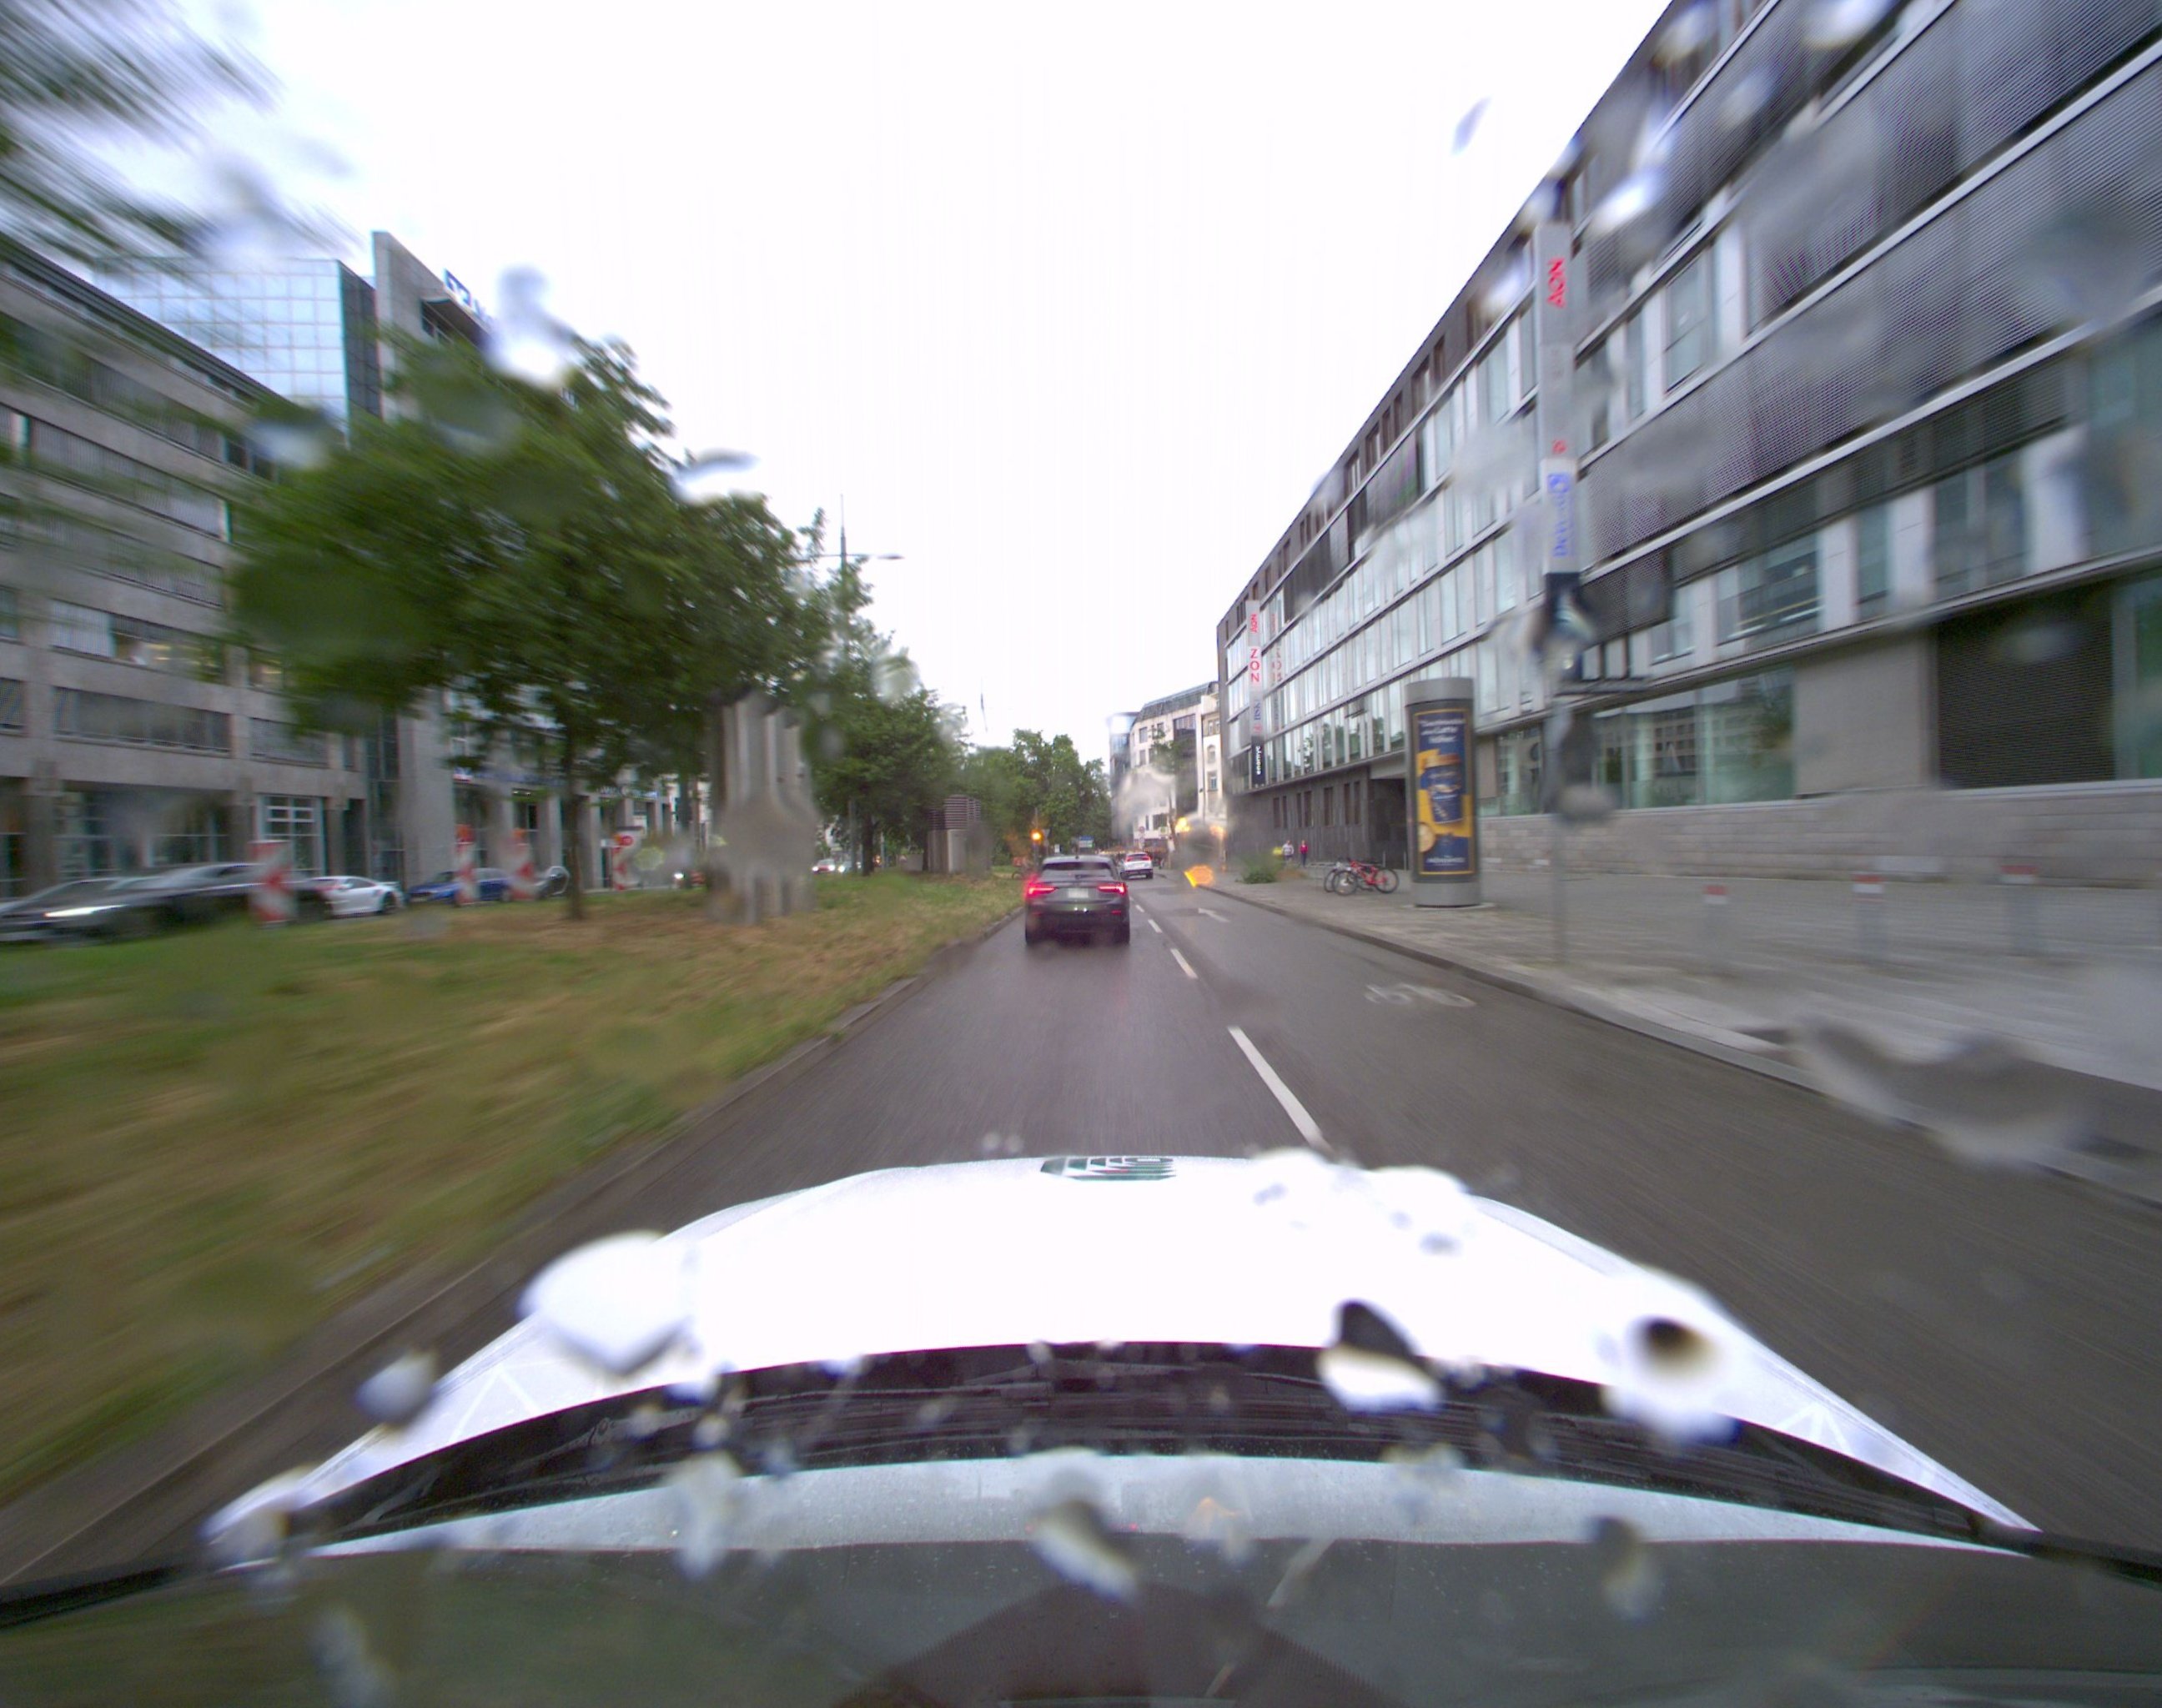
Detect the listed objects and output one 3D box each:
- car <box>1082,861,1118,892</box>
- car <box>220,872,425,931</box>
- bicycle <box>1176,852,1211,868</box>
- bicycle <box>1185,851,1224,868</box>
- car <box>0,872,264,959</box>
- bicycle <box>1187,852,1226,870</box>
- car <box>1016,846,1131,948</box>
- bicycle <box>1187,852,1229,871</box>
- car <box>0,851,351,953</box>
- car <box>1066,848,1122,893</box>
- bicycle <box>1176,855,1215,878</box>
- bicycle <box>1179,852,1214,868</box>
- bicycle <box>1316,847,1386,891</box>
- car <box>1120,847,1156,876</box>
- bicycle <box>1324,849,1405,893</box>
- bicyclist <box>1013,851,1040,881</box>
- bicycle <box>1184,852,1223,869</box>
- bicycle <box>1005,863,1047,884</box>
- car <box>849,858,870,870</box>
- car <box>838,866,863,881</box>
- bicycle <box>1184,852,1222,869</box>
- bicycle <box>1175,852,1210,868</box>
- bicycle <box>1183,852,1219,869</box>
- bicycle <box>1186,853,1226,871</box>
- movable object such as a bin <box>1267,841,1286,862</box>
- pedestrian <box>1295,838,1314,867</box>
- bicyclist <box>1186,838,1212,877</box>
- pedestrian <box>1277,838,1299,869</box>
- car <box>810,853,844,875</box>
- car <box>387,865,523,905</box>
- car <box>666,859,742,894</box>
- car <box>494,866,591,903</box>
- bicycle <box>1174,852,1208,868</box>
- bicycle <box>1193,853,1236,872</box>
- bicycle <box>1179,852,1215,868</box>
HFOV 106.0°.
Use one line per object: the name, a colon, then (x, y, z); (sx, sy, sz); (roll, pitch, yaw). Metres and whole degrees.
car: (1.151, 1.289, 48.160); (1.937, 1.646, 4.248); (-2, 0, 3)
car: (-22.692, 1.347, 24.675); (1.770, 1.401, 4.683); (-3, 1, 0)
bicycle: (8.652, 0.454, 62.507); (2.529, 1.087, 0.677); (-3, -1, -2)
bicycle: (8.504, 0.374, 56.071); (2.529, 1.087, 0.677); (-3, -1, -2)
car: (-22.642, 1.347, 19.190); (1.770, 1.622, 4.912); (-3, 0, 0)
bicycle: (8.522, 0.494, 55.257); (2.529, 1.087, 0.677); (-3, -1, -2)
car: (-0.011, 0.685, 15.444); (1.840, 1.616, 4.256); (-1, 0, 3)
bicycle: (8.181, 0.468, 52.384); (2.529, 1.087, 0.677); (-3, 0, -2)
car: (-15.805, 0.721, 14.332); (1.857, 1.429, 4.562); (-3, 0, -3)
car: (0.525, 0.667, 34.569); (2.155, 1.706, 4.553); (-2, 0, 0)
bicycle: (6.287, 0.673, 44.516); (2.142, 1.145, 0.755); (-2, -1, -35)
bicycle: (8.726, 0.458, 61.613); (2.529, 1.087, 0.677); (-3, -1, -2)
bicycle: (8.133, 0.438, 24.590); (1.827, 1.197, 0.661); (-3, 0, 6)
car: (3.601, 0.462, 51.233); (2.169, 1.700, 4.005); (-2, 0, 4)
bicycle: (7.898, 0.478, 22.744); (1.973, 1.104, 0.810); (-3, 0, 6)
bicyclist: (-2.977, 0.643, 44.685); (1.122, 1.582, 1.020); (0, -1, 22)
bicycle: (8.561, 0.436, 56.936); (2.529, 1.060, 0.677); (-3, -1, -2)
bicycle: (-3.024, 1.068, 44.700); (2.042, 1.114, 1.017); (0, 0, 22)
car: (-27.711, 1.219, 102.194); (1.817, 1.475, 4.185); (-2, 0, -6)
car: (-24.785, 2.052, 87.773); (1.865, 1.475, 3.992); (-2, 0, -6)
bicycle: (8.643, 0.481, 57.843); (2.529, 1.087, 0.677); (-3, -1, -2)
bicycle: (8.647, 0.469, 63.256); (2.529, 1.087, 0.677); (-3, -1, -2)
bicycle: (8.843, 0.464, 60.012); (2.529, 1.087, 0.677); (-3, -1, -2)
bicycle: (8.150, 0.520, 53.190); (2.529, 1.087, 0.677); (0, 0, -2)
movable object such as a bin: (12.307, -0.169, 51.320); (0.729, 1.264, 1.444); (-5, 0, 0)
pedestrian: (13.742, -0.086, 50.119); (0.716, 1.690, 1.099); (-5, 0, -2)
bicyclist: (6.449, 0.186, 44.655); (1.090, 2.083, 0.755); (-2, -1, -35)
pedestrian: (12.695, -0.035, 50.010); (0.898, 1.792, 1.046); (-5, 0, -2)
car: (-21.127, 0.824, 67.891); (1.942, 1.700, 3.992); (-2, 0, -6)
car: (-23.794, 1.131, 31.202); (1.888, 1.325, 4.470); (-2, 0, -4)
car: (-17.673, 1.020, 38.379); (1.858, 1.429, 4.126); (-3, 0, -4)
car: (-24.188, 1.338, 36.796); (1.771, 1.401, 4.012); (-3, 0, -3)
bicycle: (8.652, 0.481, 63.979); (2.529, 1.087, 0.627); (-3, -1, -2)
bicycle: (8.328, 0.531, 50.897); (2.529, 1.057, 0.677); (-3, 0, -2)
bicycle: (8.650, 0.455, 60.863); (2.529, 1.087, 0.677); (-3, -1, -2)
